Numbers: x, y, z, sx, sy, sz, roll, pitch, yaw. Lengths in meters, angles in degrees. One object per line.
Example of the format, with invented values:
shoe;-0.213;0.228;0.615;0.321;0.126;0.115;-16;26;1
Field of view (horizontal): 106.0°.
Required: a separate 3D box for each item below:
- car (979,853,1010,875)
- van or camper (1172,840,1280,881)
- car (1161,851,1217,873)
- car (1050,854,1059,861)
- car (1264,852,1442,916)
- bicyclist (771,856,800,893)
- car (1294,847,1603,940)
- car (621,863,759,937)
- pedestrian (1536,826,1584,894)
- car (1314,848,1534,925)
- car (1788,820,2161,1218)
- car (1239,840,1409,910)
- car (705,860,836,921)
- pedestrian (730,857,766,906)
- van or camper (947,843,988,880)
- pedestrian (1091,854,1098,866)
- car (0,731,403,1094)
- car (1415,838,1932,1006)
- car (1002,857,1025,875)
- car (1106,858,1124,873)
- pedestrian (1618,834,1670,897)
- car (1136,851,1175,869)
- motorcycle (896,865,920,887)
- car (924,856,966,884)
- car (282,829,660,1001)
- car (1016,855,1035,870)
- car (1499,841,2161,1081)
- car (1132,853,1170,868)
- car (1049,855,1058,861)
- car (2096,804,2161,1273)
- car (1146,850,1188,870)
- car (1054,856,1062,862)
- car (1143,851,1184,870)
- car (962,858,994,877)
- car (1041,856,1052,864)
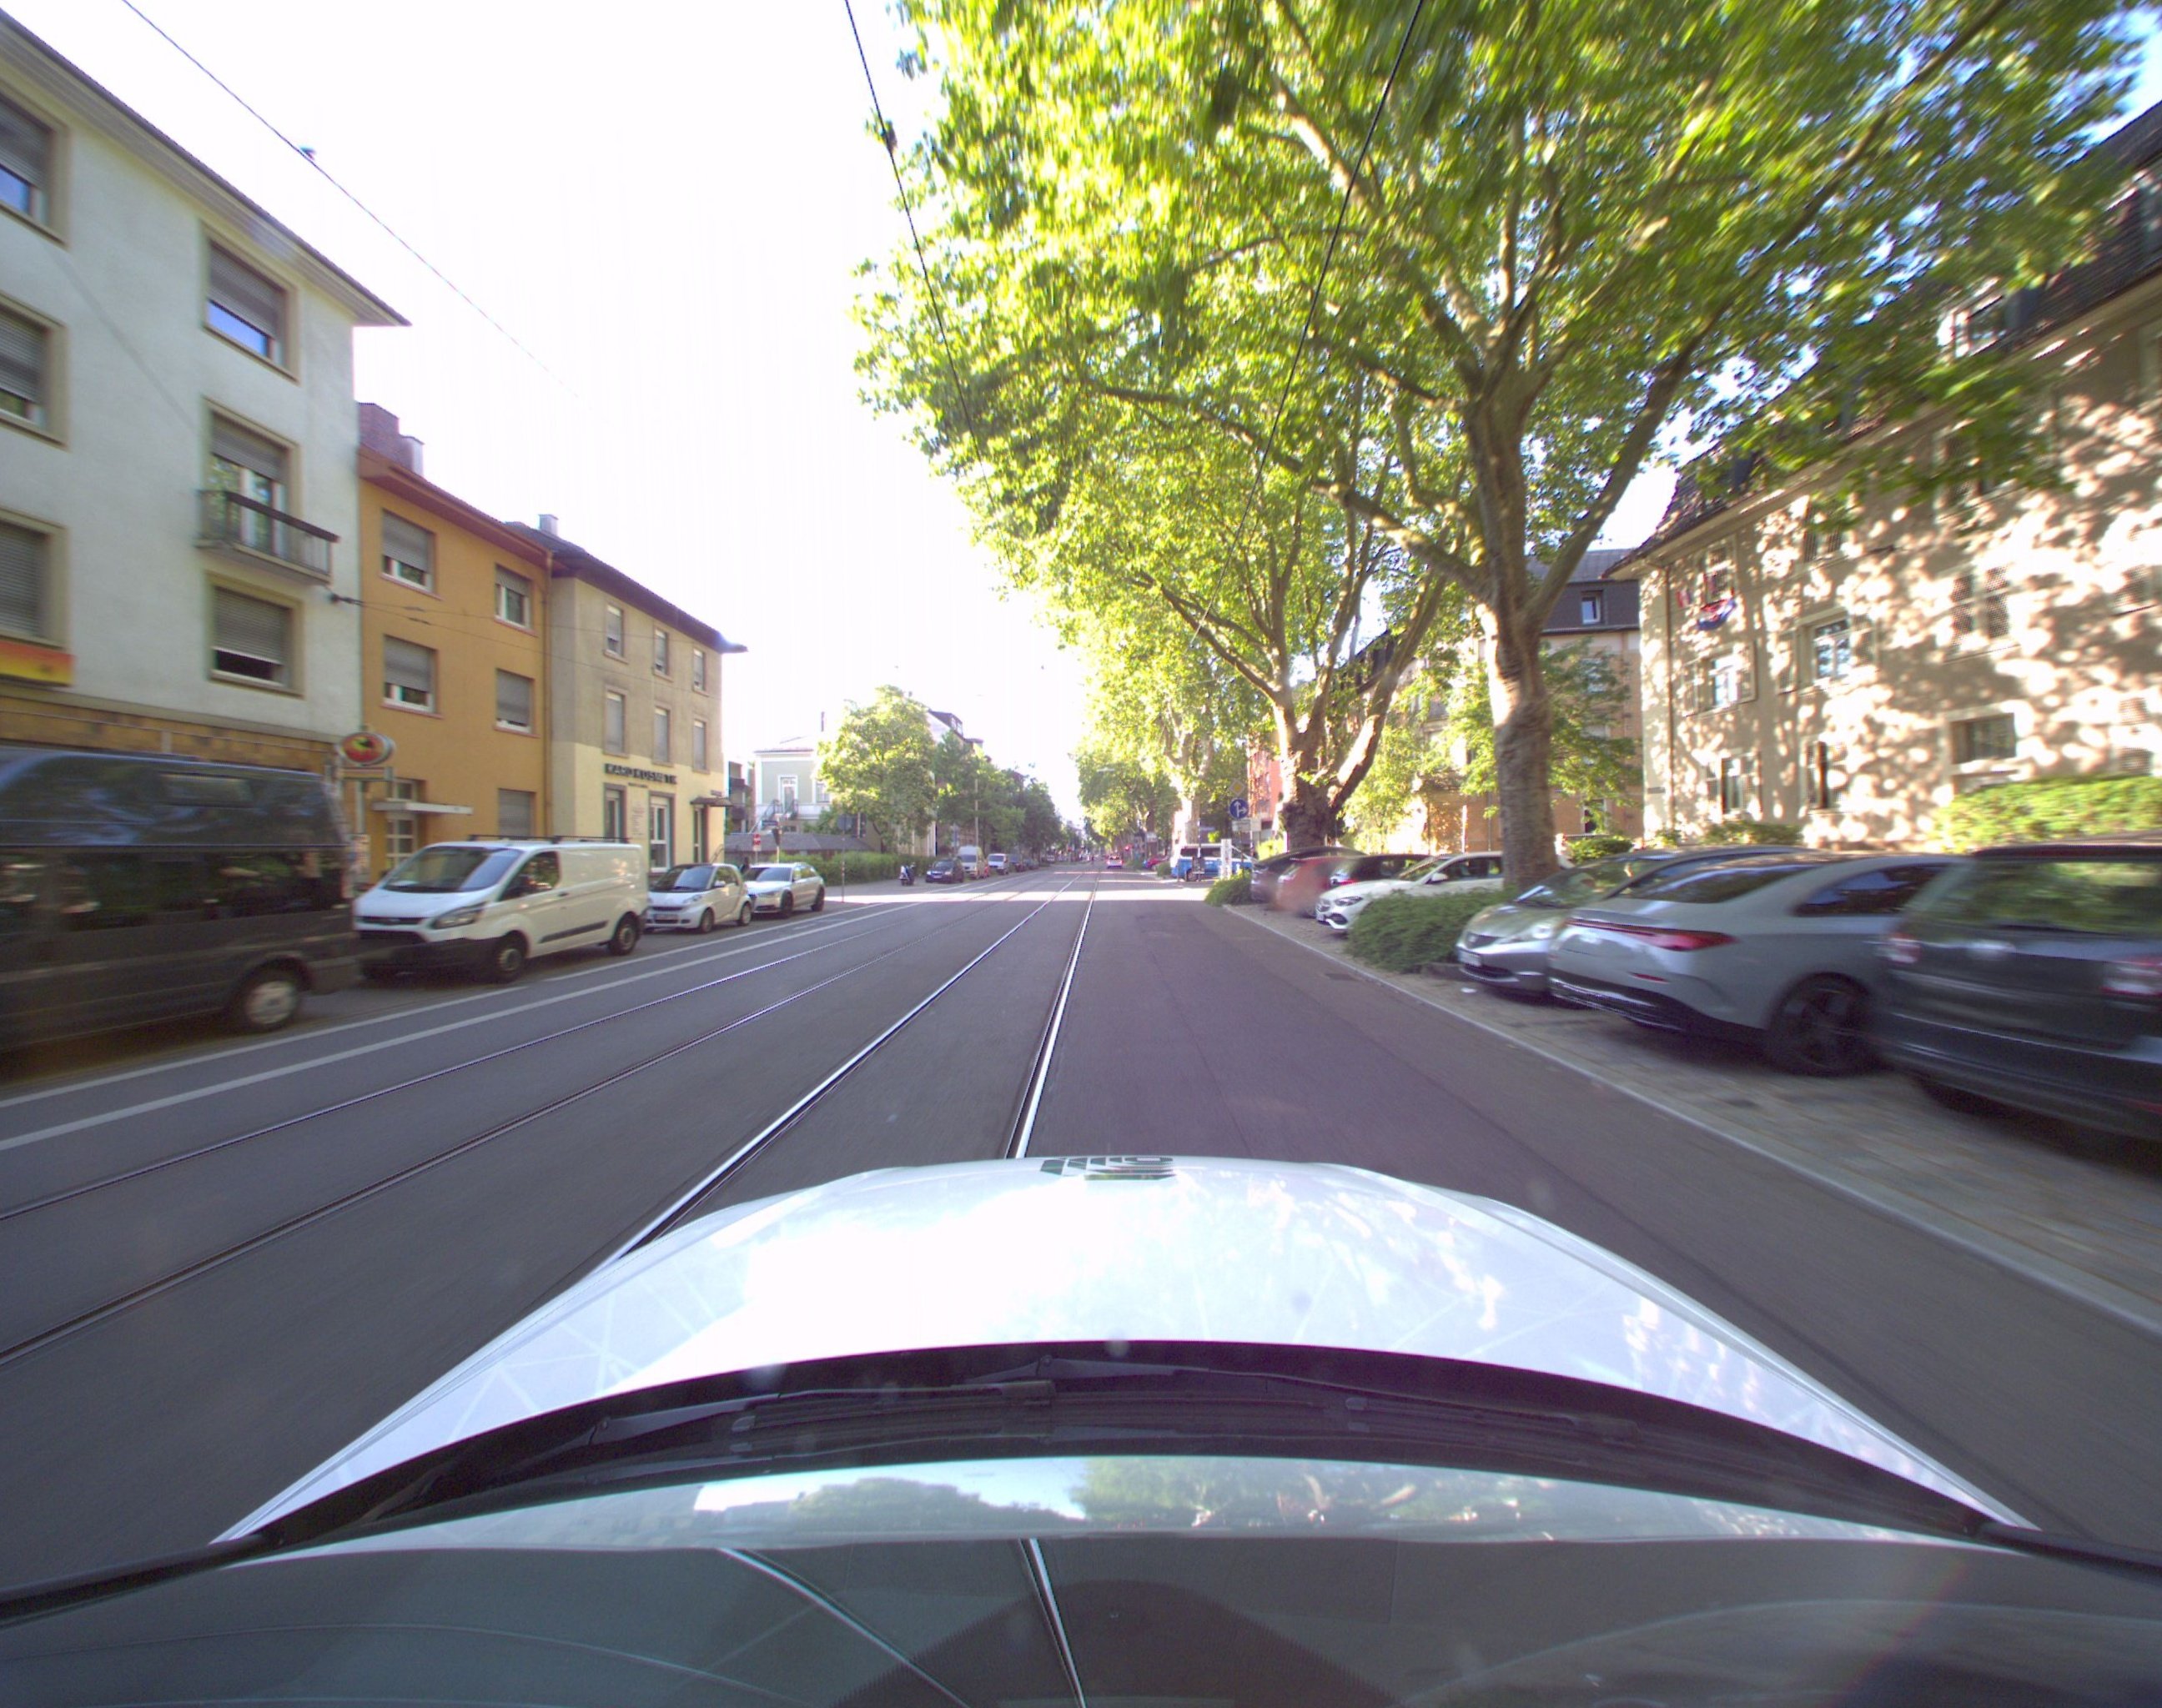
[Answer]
car;-7.884;0.874;74.715;2.165;1.861;4.660;-1;0;2
van or camper;8.056;0.312;45.562;5.543;2.013;2.242;-2;2;-3
car;8.201;0.593;62.130;3.972;1.609;2.001;-1;0;1
car;-6.178;0.914;189.839;1.914;1.419;3.586;-3;-1;-3
car;6.394;0.678;19.442;3.636;1.378;1.890;-1;0;2
bicyclist;-13.939;0.958;38.480;1.045;1.705;1.055;-1;0;-8
car;6.381;0.660;14.572;4.669;1.446;1.893;-1;0;1
car;-8.957;0.999;18.923;1.565;1.526;3.043;0;0;3
pedestrian;12.565;0.148;21.398;0.757;1.739;0.821;-1;0;1
car;7.046;0.648;17.014;3.868;1.435;1.754;-1;0;1
car;6.067;0.594;3.946;3.663;1.547;1.778;-2;0;3
car;6.369;0.535;21.668;3.911;1.670;1.960;-1;0;-1
car;-8.760;0.971;23.535;1.830;1.468;5.068;2;0;0
pedestrian;-11.195;0.900;27.392;0.784;1.592;0.942;-1;0;1
van or camper;-8.281;0.530;59.940;2.071;2.533;5.319;-1;0;2
pedestrian;2.340;0.987;142.190;1.043;2.013;1.083;-1;0;4
car;-9.131;0.413;6.937;2.079;2.731;5.311;2;0;2
car;5.965;0.647;8.614;4.126;1.509;1.797;-1;0;1
car;-7.313;1.291;89.024;1.986;1.861;4.180;-1;0;2
car;3.898;1.336;93.301;1.911;1.584;3.792;-3;0;1
pedestrian;13.484;0.277;19.529;0.659;1.455;0.821;-1;0;1
car;7.821;0.581;85.773;3.972;1.784;2.001;-1;0;1
motorcycle;-9.875;1.231;46.612;0.760;1.107;2.331;-1;2;2
car;-8.435;0.951;50.703;1.781;1.587;4.344;2;0;1
car;-8.976;0.734;12.798;1.946;2.091;5.247;2;1;0
car;-7.128;1.064;104.955;1.986;1.745;4.660;-1;0;2
car;5.806;0.675;6.172;4.281;1.439;1.948;-1;0;0
car;7.579;0.709;88.085;3.972;1.521;2.001;-1;0;1
car;-6.359;0.899;185.594;1.912;1.419;3.589;-1;0;-1
car;5.793;0.512;1.707;4.474;1.602;2.030;-3;0;5
car;8.473;0.591;80.211;3.972;1.784;2.001;-1;0;1
car;-5.768;1.237;207.687;1.912;1.419;3.589;-1;0;-1
car;8.322;0.647;82.498;3.972;1.784;2.001;-1;0;1
car;-8.220;1.070;65.304;1.869;1.460;4.208;-1;0;2
car;-6.481;1.047;153.135;1.912;1.419;3.719;-1;0;-1
